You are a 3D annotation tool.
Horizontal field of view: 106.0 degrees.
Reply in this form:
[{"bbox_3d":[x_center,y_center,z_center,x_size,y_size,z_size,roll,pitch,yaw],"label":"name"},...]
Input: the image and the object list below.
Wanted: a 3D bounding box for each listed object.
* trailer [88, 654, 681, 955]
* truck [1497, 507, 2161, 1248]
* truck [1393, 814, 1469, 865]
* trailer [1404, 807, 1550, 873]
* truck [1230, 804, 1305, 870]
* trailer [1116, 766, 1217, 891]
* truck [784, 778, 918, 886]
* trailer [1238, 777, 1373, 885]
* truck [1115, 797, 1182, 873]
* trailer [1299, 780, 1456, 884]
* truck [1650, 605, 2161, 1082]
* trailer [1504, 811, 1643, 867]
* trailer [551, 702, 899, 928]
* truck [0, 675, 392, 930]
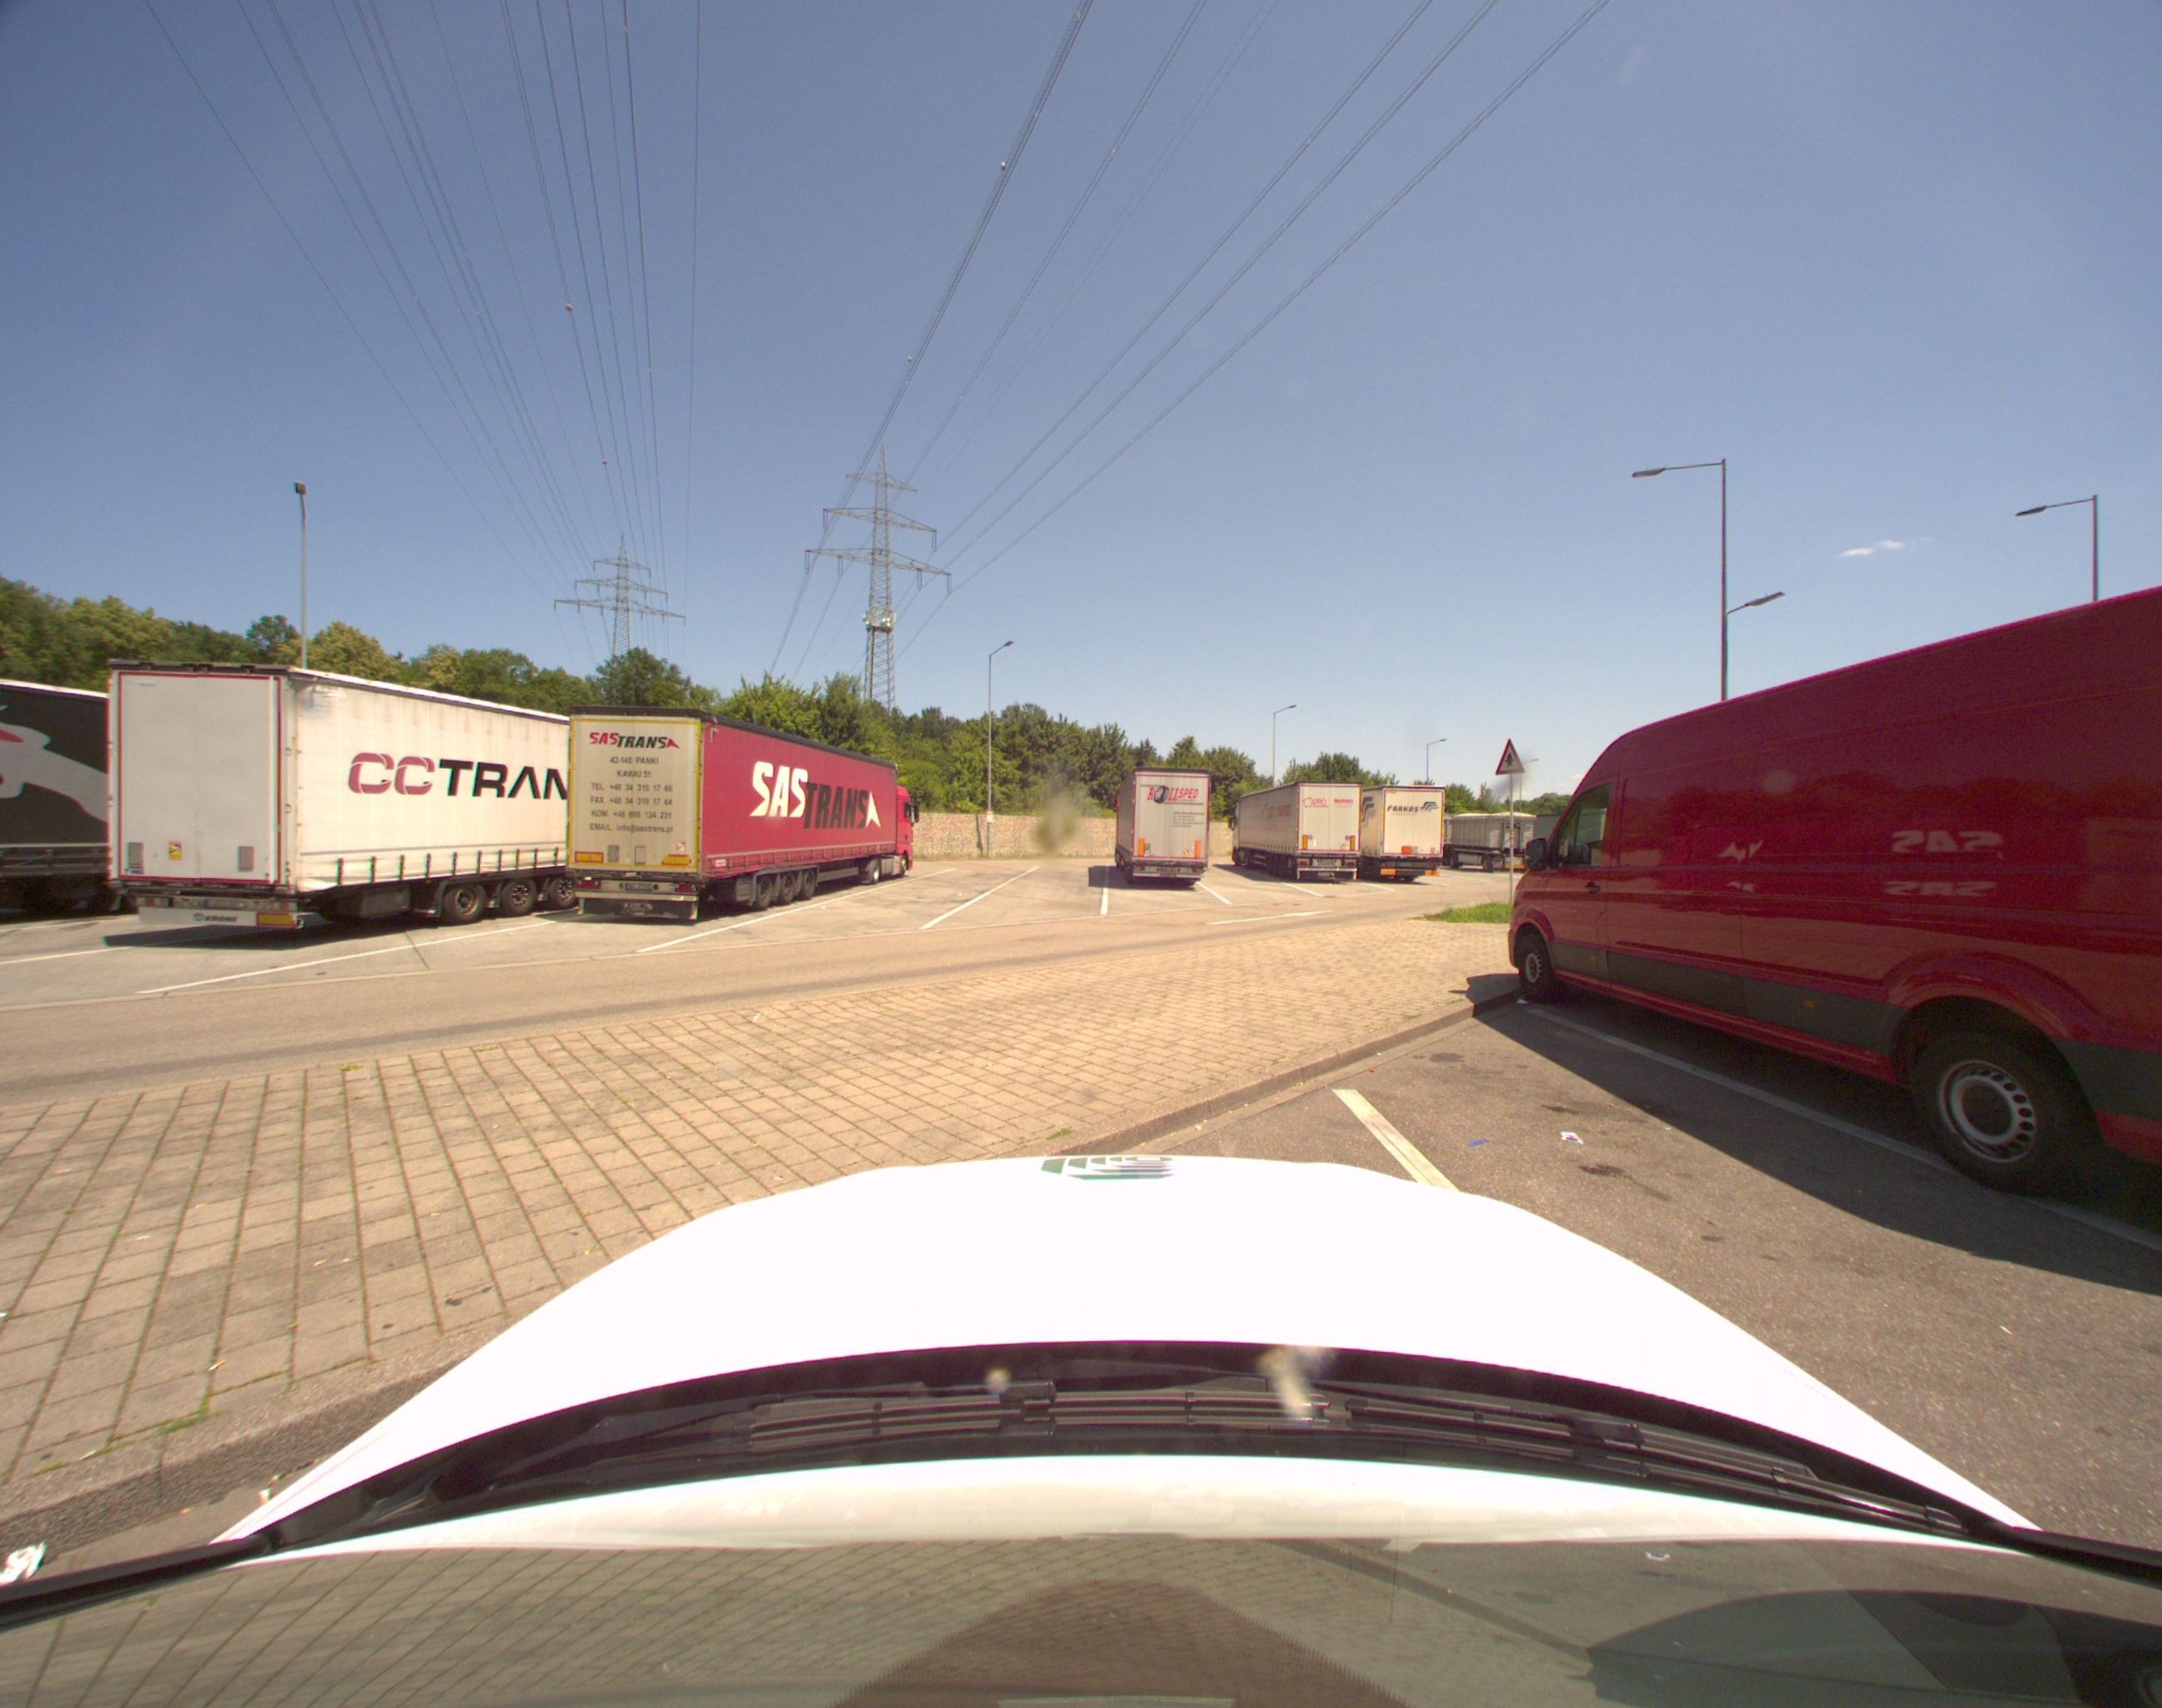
[{"bbox_3d":[-12.158,-0.835,16.424,2.696,4.101,10.395,1,2,2],"label":"trailer"},{"bbox_3d":[5.145,0.081,5.455,2.001,2.651,6.466,-1,0,6],"label":"truck"},{"bbox_3d":[24.628,-1.074,57.599,2.855,3.362,5.977,1,2,2],"label":"truck"},{"bbox_3d":[24.443,-0.987,51.502,2.847,3.599,13.770,1,2,2],"label":"trailer"},{"bbox_3d":[10.181,-0.970,45.066,2.855,3.362,5.977,1,2,2],"label":"truck"},{"bbox_3d":[3.051,-1.041,33.211,2.848,3.971,13.767,1,2,1],"label":"trailer"},{"bbox_3d":[-7.829,-0.786,28.545,2.801,3.362,5.977,1,2,2],"label":"truck"},{"bbox_3d":[9.983,-1.113,38.302,2.847,4.109,13.770,1,2,2],"label":"trailer"},{"bbox_3d":[3.142,-0.931,39.413,2.855,3.362,5.977,1,2,2],"label":"truck"},{"bbox_3d":[13.611,-1.088,39.227,2.847,4.109,13.770,1,2,2],"label":"trailer"},{"bbox_3d":[8.005,-0.070,6.888,2.406,2.906,6.466,-1,0,6],"label":"truck"},{"bbox_3d":[38.223,-1.289,64.184,2.847,3.904,13.770,1,2,2],"label":"trailer"},{"bbox_3d":[-8.044,-0.921,21.729,2.811,4.070,13.770,1,2,2],"label":"trailer"},{"bbox_3d":[-18.546,-0.931,15.832,2.696,4.070,8.694,1,2,2],"label":"truck"}]
